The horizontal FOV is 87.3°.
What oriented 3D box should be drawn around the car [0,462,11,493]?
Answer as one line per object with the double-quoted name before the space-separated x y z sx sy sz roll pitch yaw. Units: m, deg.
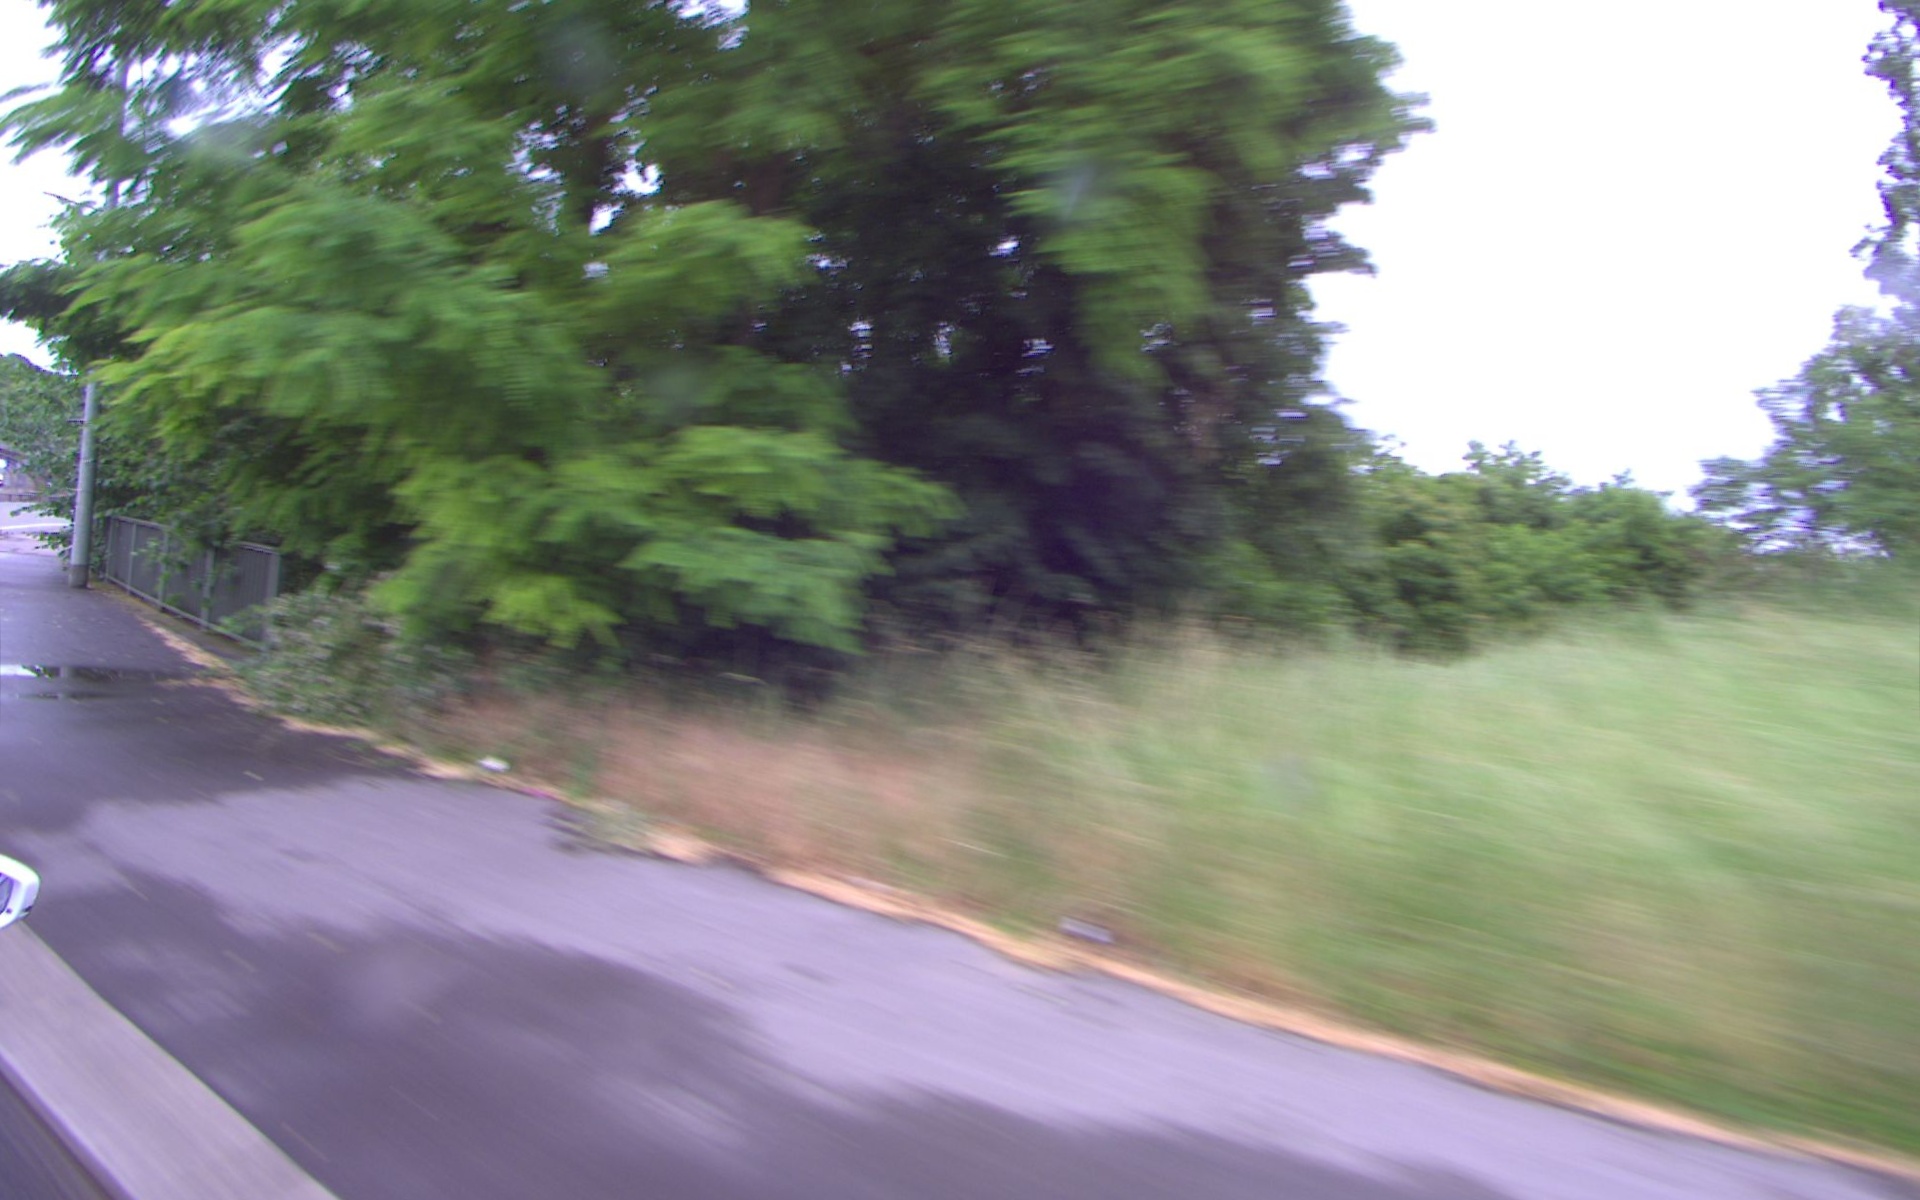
"car" -106.031 -13.574 109.972 6.266 3.153 2.387 7 0 40
